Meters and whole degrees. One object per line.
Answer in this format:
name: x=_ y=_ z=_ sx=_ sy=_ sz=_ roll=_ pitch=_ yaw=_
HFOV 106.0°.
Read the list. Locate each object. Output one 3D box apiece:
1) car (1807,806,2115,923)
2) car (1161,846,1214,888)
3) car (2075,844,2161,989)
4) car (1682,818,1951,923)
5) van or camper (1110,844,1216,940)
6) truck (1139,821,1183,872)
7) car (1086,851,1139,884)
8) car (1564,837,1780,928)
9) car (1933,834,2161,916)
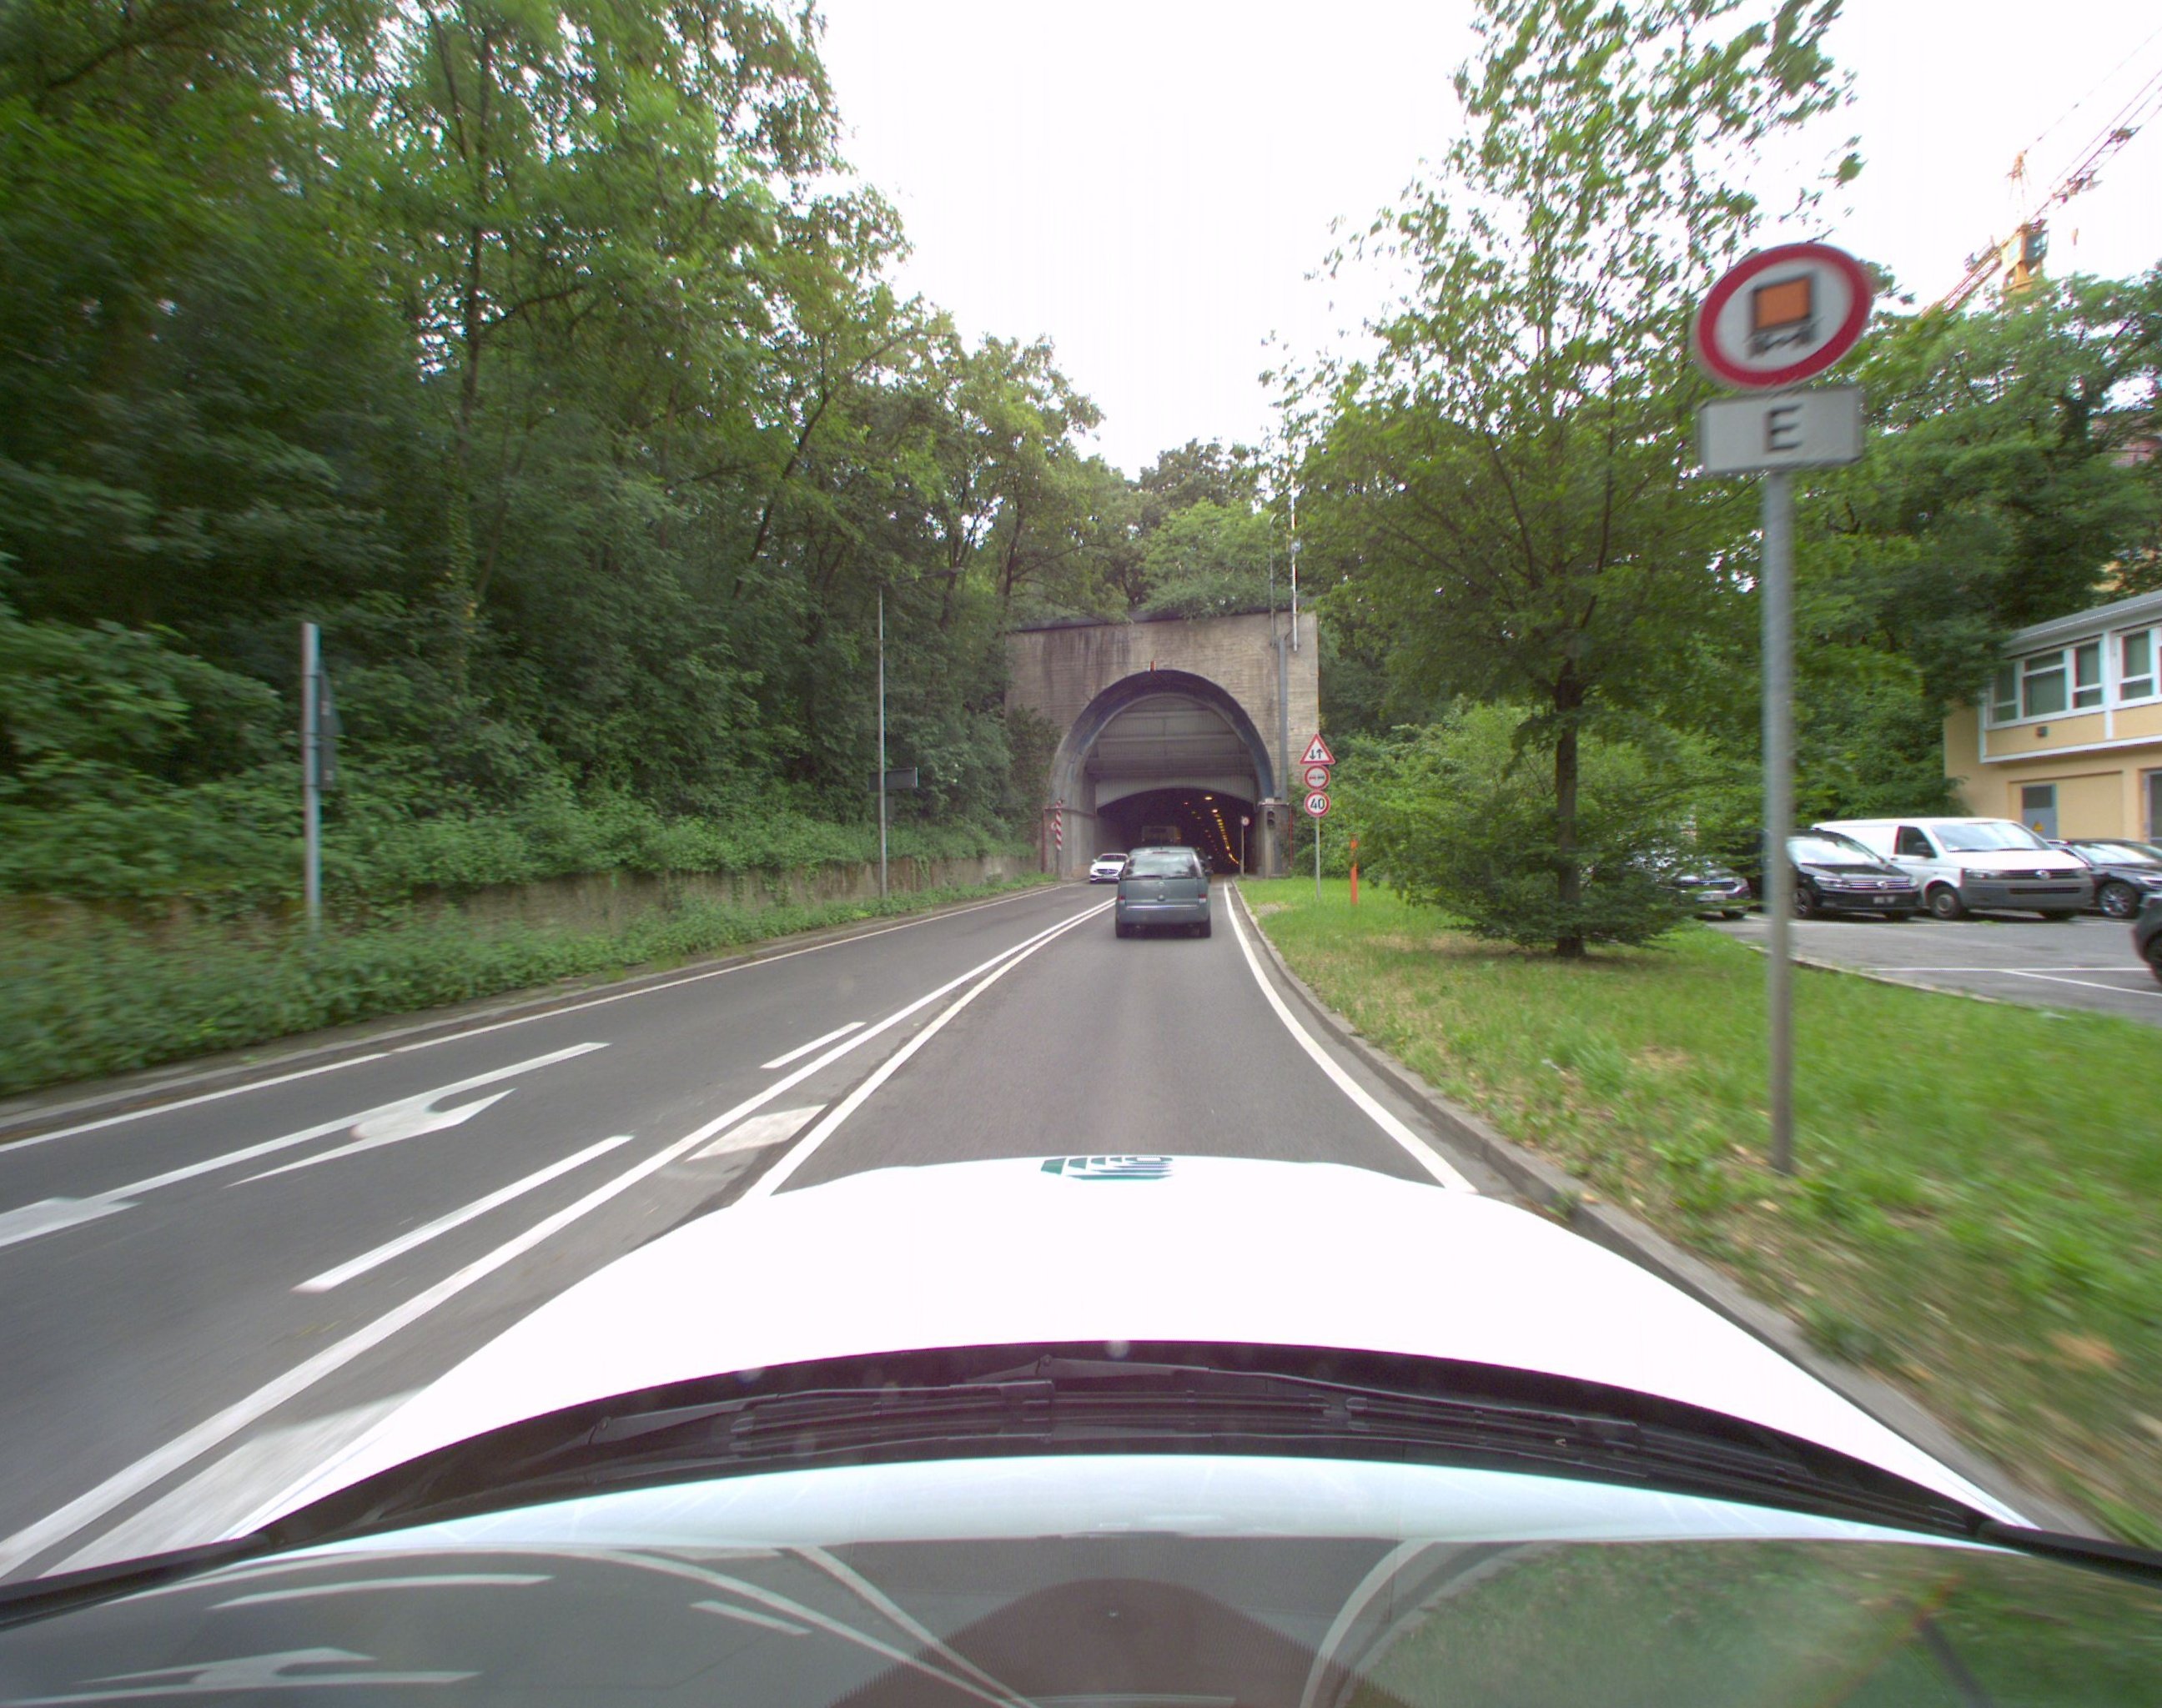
car: x=17.296 y=0.203 z=16.429 sx=1.844 sy=2.014 sz=4.576 roll=-1 pitch=0 yaw=11
car: x=4.862 y=0.529 z=36.683 sx=1.980 sy=1.653 sz=4.014 roll=-2 pitch=1 yaw=12
car: x=11.464 y=0.596 z=6.867 sx=1.733 sy=1.442 sz=3.909 roll=-2 pitch=-1 yaw=9
car: x=15.133 y=0.315 z=17.221 sx=1.845 sy=1.879 sz=4.897 roll=-1 pitch=0 yaw=9
van or camper: x=1.535 y=0.629 z=15.529 sx=1.727 sy=1.578 sz=3.651 roll=-2 pitch=0 yaw=5
truck: x=6.237 y=-0.498 z=62.557 sx=2.659 sy=3.667 sz=7.539 roll=-1 pitch=0 yaw=10
car: x=1.571 y=0.598 z=38.889 sx=1.856 sy=1.371 sz=4.469 roll=-2 pitch=0 yaw=11
car: x=12.768 y=0.564 z=18.064 sx=1.798 sy=1.666 sz=4.897 roll=-3 pitch=-1 yaw=9
car: x=19.862 y=0.367 z=16.225 sx=1.784 sy=1.426 sz=4.339 roll=-1 pitch=0 yaw=11
